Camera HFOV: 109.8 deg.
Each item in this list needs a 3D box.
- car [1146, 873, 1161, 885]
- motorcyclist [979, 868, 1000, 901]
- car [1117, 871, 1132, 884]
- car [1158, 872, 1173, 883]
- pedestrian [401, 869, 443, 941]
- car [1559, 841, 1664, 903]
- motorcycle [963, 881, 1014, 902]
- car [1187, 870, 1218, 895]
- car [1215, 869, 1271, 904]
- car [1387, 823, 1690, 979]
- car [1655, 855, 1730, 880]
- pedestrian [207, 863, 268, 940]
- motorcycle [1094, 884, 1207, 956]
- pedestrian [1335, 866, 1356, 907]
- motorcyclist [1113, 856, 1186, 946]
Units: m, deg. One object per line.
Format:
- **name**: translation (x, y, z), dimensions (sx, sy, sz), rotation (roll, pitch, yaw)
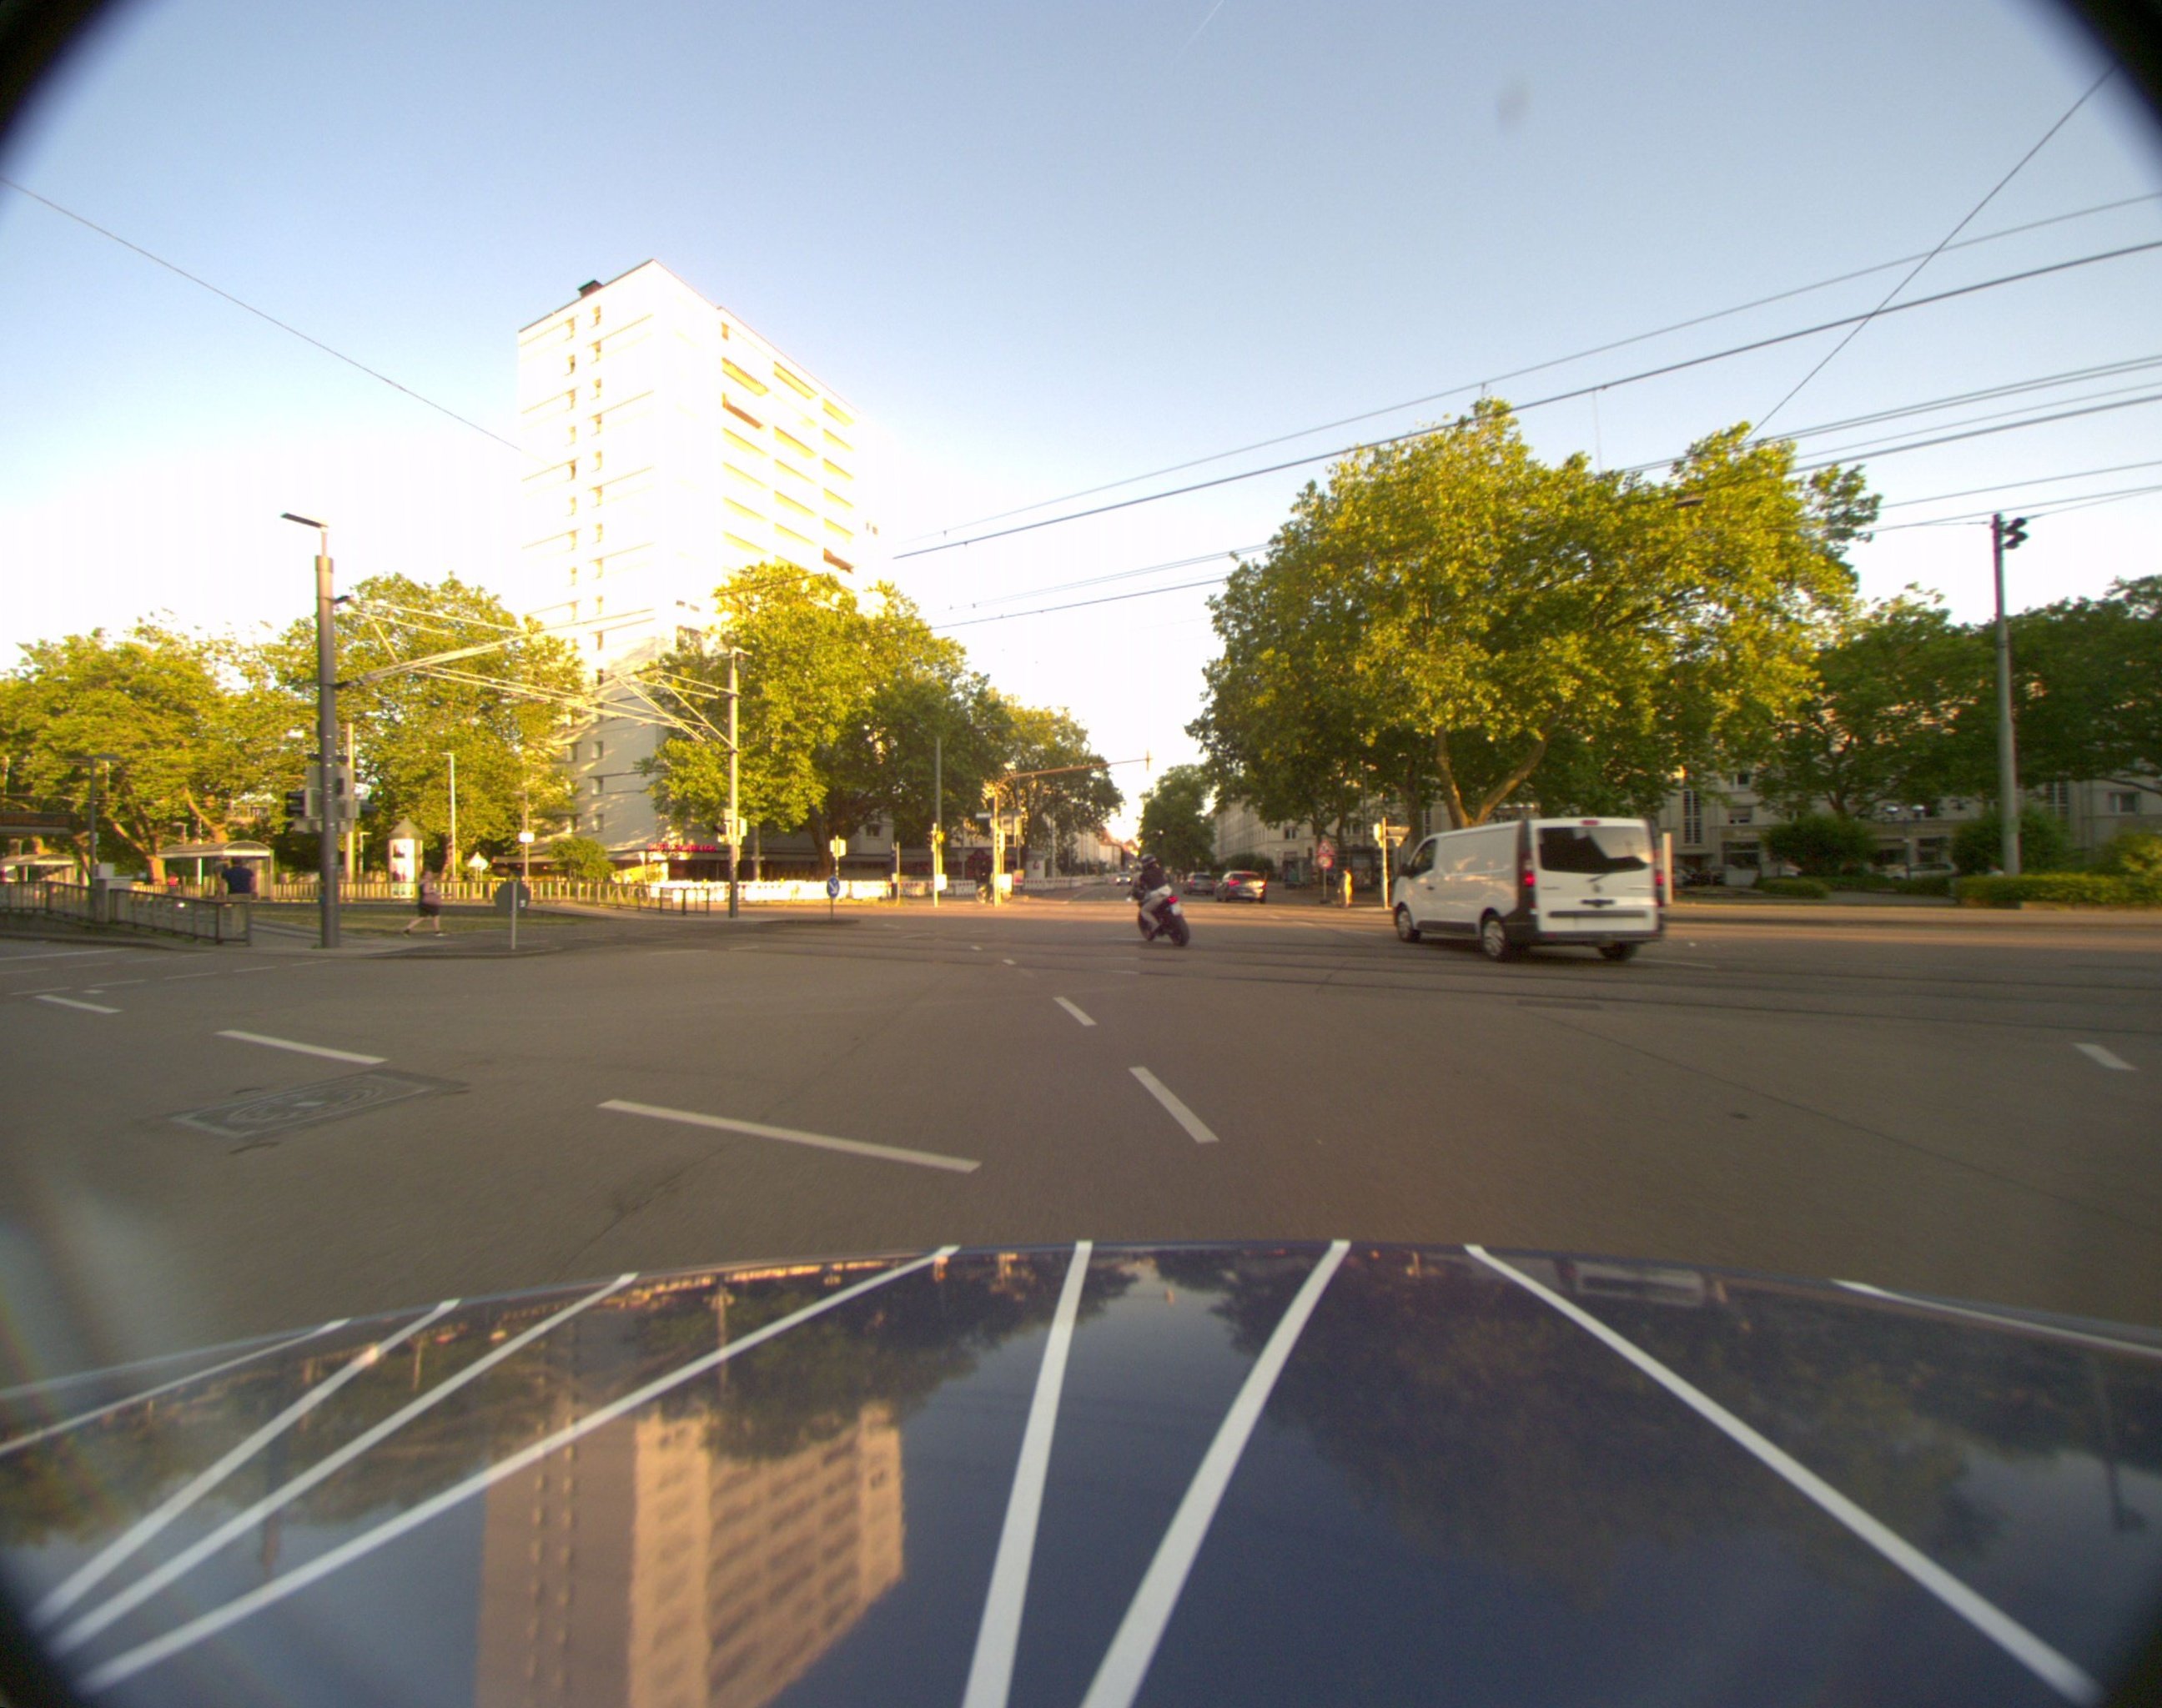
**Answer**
- **car**: translation (8.847, 3.016, 93.171), dimensions (1.839, 1.419, 4.002), rotation (-1, -1, 5)
- **motorcyclist**: translation (-4.295, 1.412, 35.636), dimensions (0.830, 1.510, 0.622), rotation (-1, 0, -24)
- **car**: translation (5.588, 2.990, 96.722), dimensions (1.839, 1.549, 4.002), rotation (-1, -1, 5)
- **car**: translation (11.885, 3.291, 106.727), dimensions (1.998, 1.419, 4.002), rotation (-1, -1, 6)
- **pedestrian**: translation (-15.349, 1.169, 17.716), dimensions (0.663, 1.647, 0.542), rotation (-1, 0, -33)
- **car**: translation (18.322, 0.606, 26.453), dimensions (1.865, 2.001, 3.815), rotation (-1, -1, 16)
- **motorcycle**: translation (-4.314, 1.760, 35.615), dimensions (2.288, 0.917, 0.622), rotation (0, -1, -24)
- **car**: translation (8.152, 1.868, 51.224), dimensions (1.794, 1.570, 4.002), rotation (-1, -1, 5)
- **car**: translation (7.430, 1.452, 35.115), dimensions (1.998, 1.450, 4.002), rotation (-1, -1, 4)
- **car**: translation (6.669, 0.624, 11.841), dimensions (1.991, 1.945, 4.597), rotation (-1, -1, 1)
- **car**: translation (43.302, 0.958, 53.941), dimensions (3.989, 1.696, 2.004), rotation (-1, -1, 35)
- **pedestrian**: translation (-20.232, 1.114, 18.236), dimensions (0.710, 1.805, 0.790), rotation (-1, 0, 25)
- **motorcycle**: translation (1.180, 1.138, 13.930), dimensions (0.910, 1.123, 2.801), rotation (-1, -1, -21)
- **pedestrian**: translation (10.612, 1.316, 30.478), dimensions (0.745, 1.619, 0.661), rotation (-1, 0, 18)
- **motorcyclist**: translation (1.226, 0.816, 13.816), dimensions (0.909, 1.546, 1.155), rotation (-1, -1, -20)
